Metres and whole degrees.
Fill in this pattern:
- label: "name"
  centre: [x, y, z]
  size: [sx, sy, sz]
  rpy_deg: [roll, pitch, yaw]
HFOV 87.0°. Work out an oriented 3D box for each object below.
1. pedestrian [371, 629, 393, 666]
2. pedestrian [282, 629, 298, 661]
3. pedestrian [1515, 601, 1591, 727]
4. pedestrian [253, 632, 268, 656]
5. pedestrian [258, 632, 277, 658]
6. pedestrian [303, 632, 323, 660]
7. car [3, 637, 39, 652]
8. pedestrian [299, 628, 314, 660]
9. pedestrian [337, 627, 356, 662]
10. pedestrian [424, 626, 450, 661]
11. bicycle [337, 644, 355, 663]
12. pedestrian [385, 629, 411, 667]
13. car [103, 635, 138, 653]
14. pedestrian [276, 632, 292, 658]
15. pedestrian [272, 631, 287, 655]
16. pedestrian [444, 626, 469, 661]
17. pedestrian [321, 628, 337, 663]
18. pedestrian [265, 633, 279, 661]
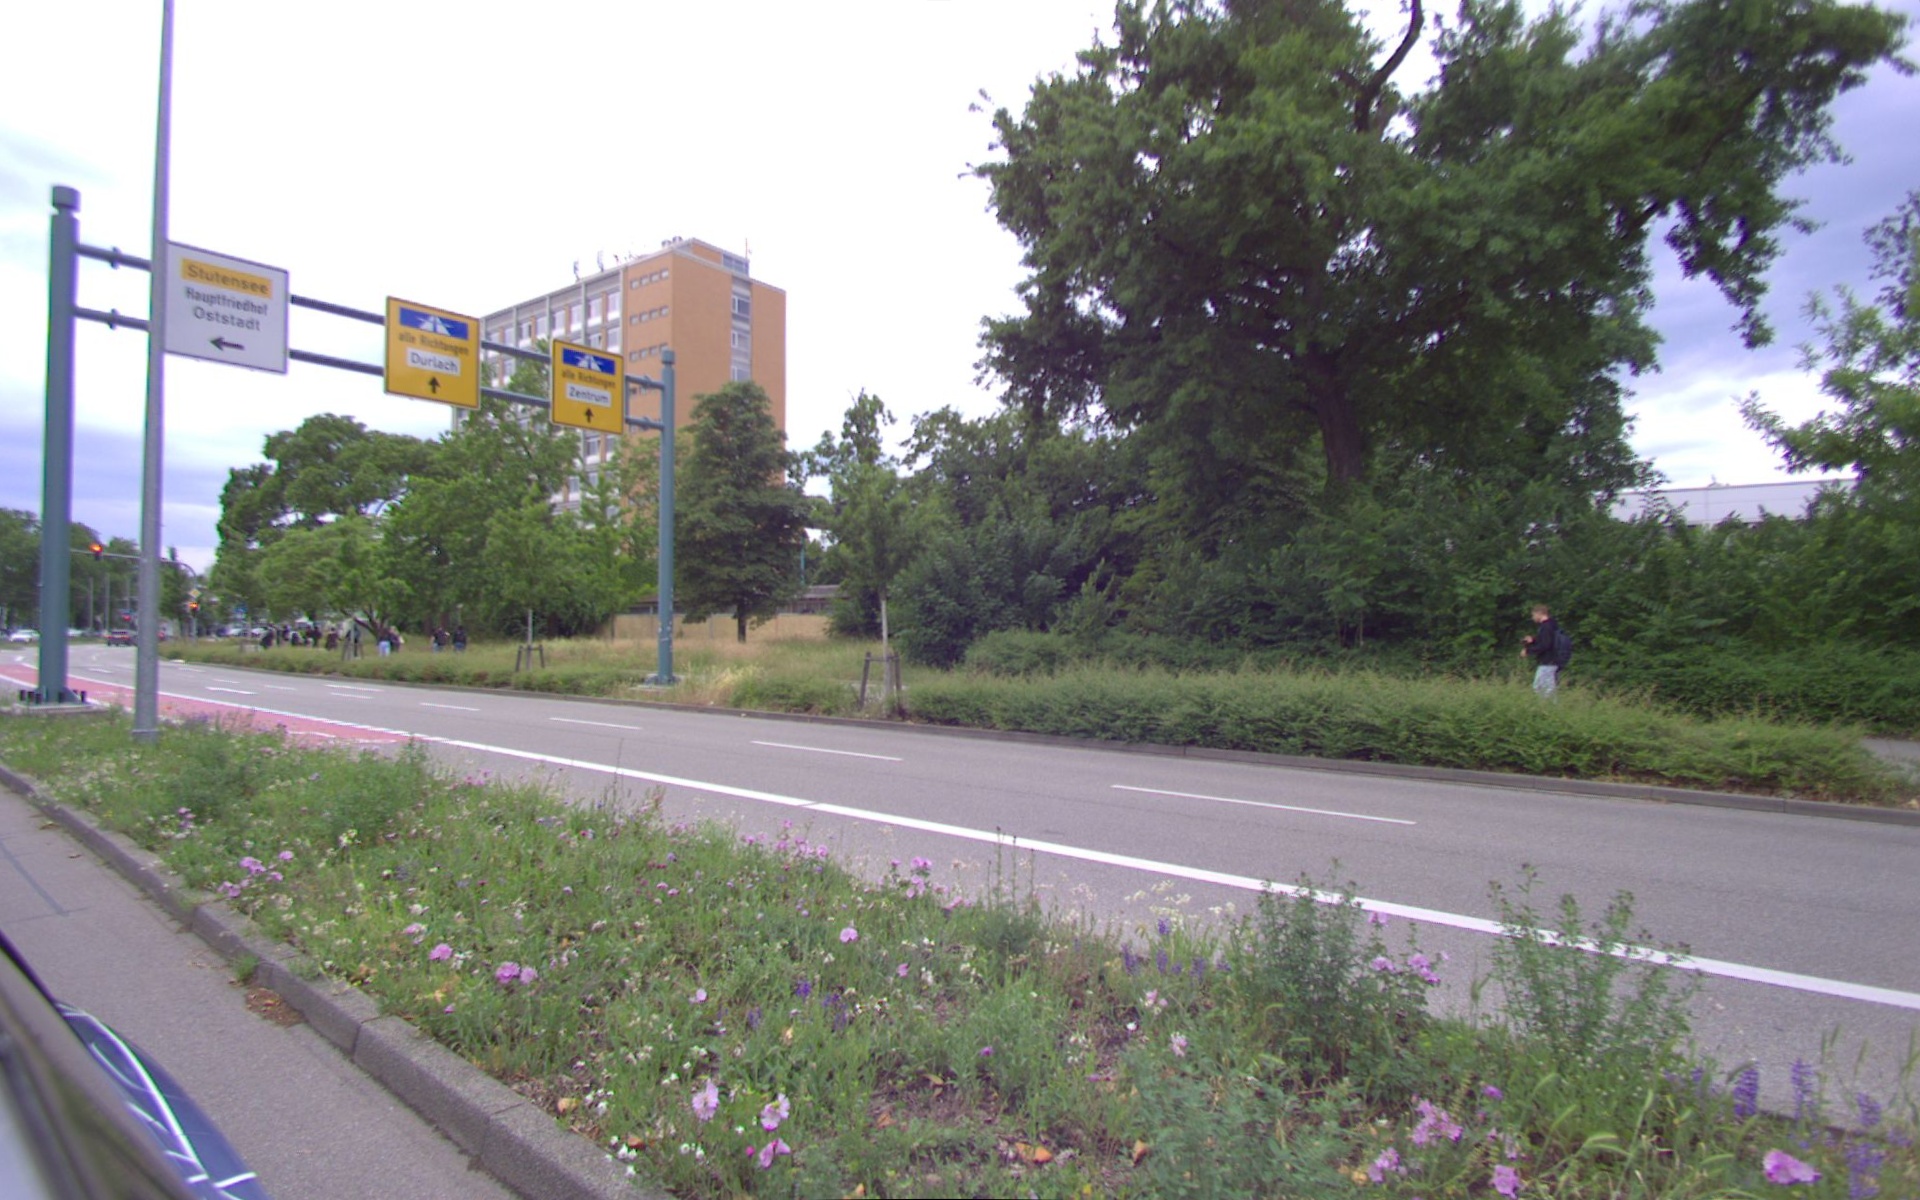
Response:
- label: "pedestrian"
  centre: [-25.805, 2.121, 45.192]
  size: [0.719, 1.673, 0.580]
  rpy_deg: [-2, -4, 35]
- label: "pedestrian"
  centre: [-36.094, 2.414, 54.514]
  size: [0.613, 1.708, 0.748]
  rpy_deg: [3, -4, -36]
- label: "pedestrian"
  centre: [8.495, 0.903, 14.499]
  size: [0.818, 1.742, 0.613]
  rpy_deg: [-2, -4, 41]
- label: "pedestrian"
  centre: [-49.182, 3.099, 71.111]
  size: [0.943, 1.683, 0.698]
  rpy_deg: [-3, -2, 45]
- label: "pedestrian"
  centre: [-40.371, 2.613, 58.986]
  size: [0.813, 1.491, 0.720]
  rpy_deg: [-3, -4, 44]
- label: "pedestrian"
  centre: [-38.645, 2.727, 60.469]
  size: [0.824, 1.625, 0.631]
  rpy_deg: [-2, -1, 19]
- label: "car"
  centre: [-105.380, 4.995, 113.606]
  size: [1.774, 1.608, 3.771]
  rpy_deg: [2, -3, -24]
- label: "pedestrian"
  centre: [-35.644, 2.421, 55.222]
  size: [0.571, 1.725, 0.763]
  rpy_deg: [3, -4, -38]
- label: "pedestrian"
  centre: [-29.336, 2.132, 48.384]
  size: [0.652, 1.644, 0.765]
  rpy_deg: [3, -4, -34]
- label: "pedestrian"
  centre: [-20.769, 1.724, 40.209]
  size: [0.711, 1.368, 0.638]
  rpy_deg: [-2, -4, 40]
- label: "bicycle"
  centre: [-29.339, 2.559, 48.361]
  size: [0.652, 0.895, 1.719]
  rpy_deg: [3, -4, -34]
- label: "pedestrian"
  centre: [-25.372, 2.162, 45.708]
  size: [0.766, 1.685, 0.700]
  rpy_deg: [-2, -4, 35]
- label: "car"
  centre: [-83.903, 4.358, 101.179]
  size: [1.785, 1.680, 3.962]
  rpy_deg: [2, -2, -27]
- label: "pedestrian"
  centre: [-39.785, 2.658, 59.567]
  size: [0.762, 1.491, 0.628]
  rpy_deg: [-3, -4, 45]
- label: "pedestrian"
  centre: [-48.371, 3.062, 71.914]
  size: [0.890, 1.683, 0.698]
  rpy_deg: [-3, -2, 45]
- label: "pedestrian"
  centre: [-20.364, 1.767, 40.924]
  size: [0.680, 1.373, 0.638]
  rpy_deg: [-2, -4, 39]
- label: "pedestrian"
  centre: [-29.820, 2.149, 47.824]
  size: [0.567, 1.621, 0.618]
  rpy_deg: [3, -4, -33]
- label: "pedestrian"
  centre: [-46.326, 3.167, 68.097]
  size: [0.762, 1.815, 0.630]
  rpy_deg: [-3, -3, 45]
